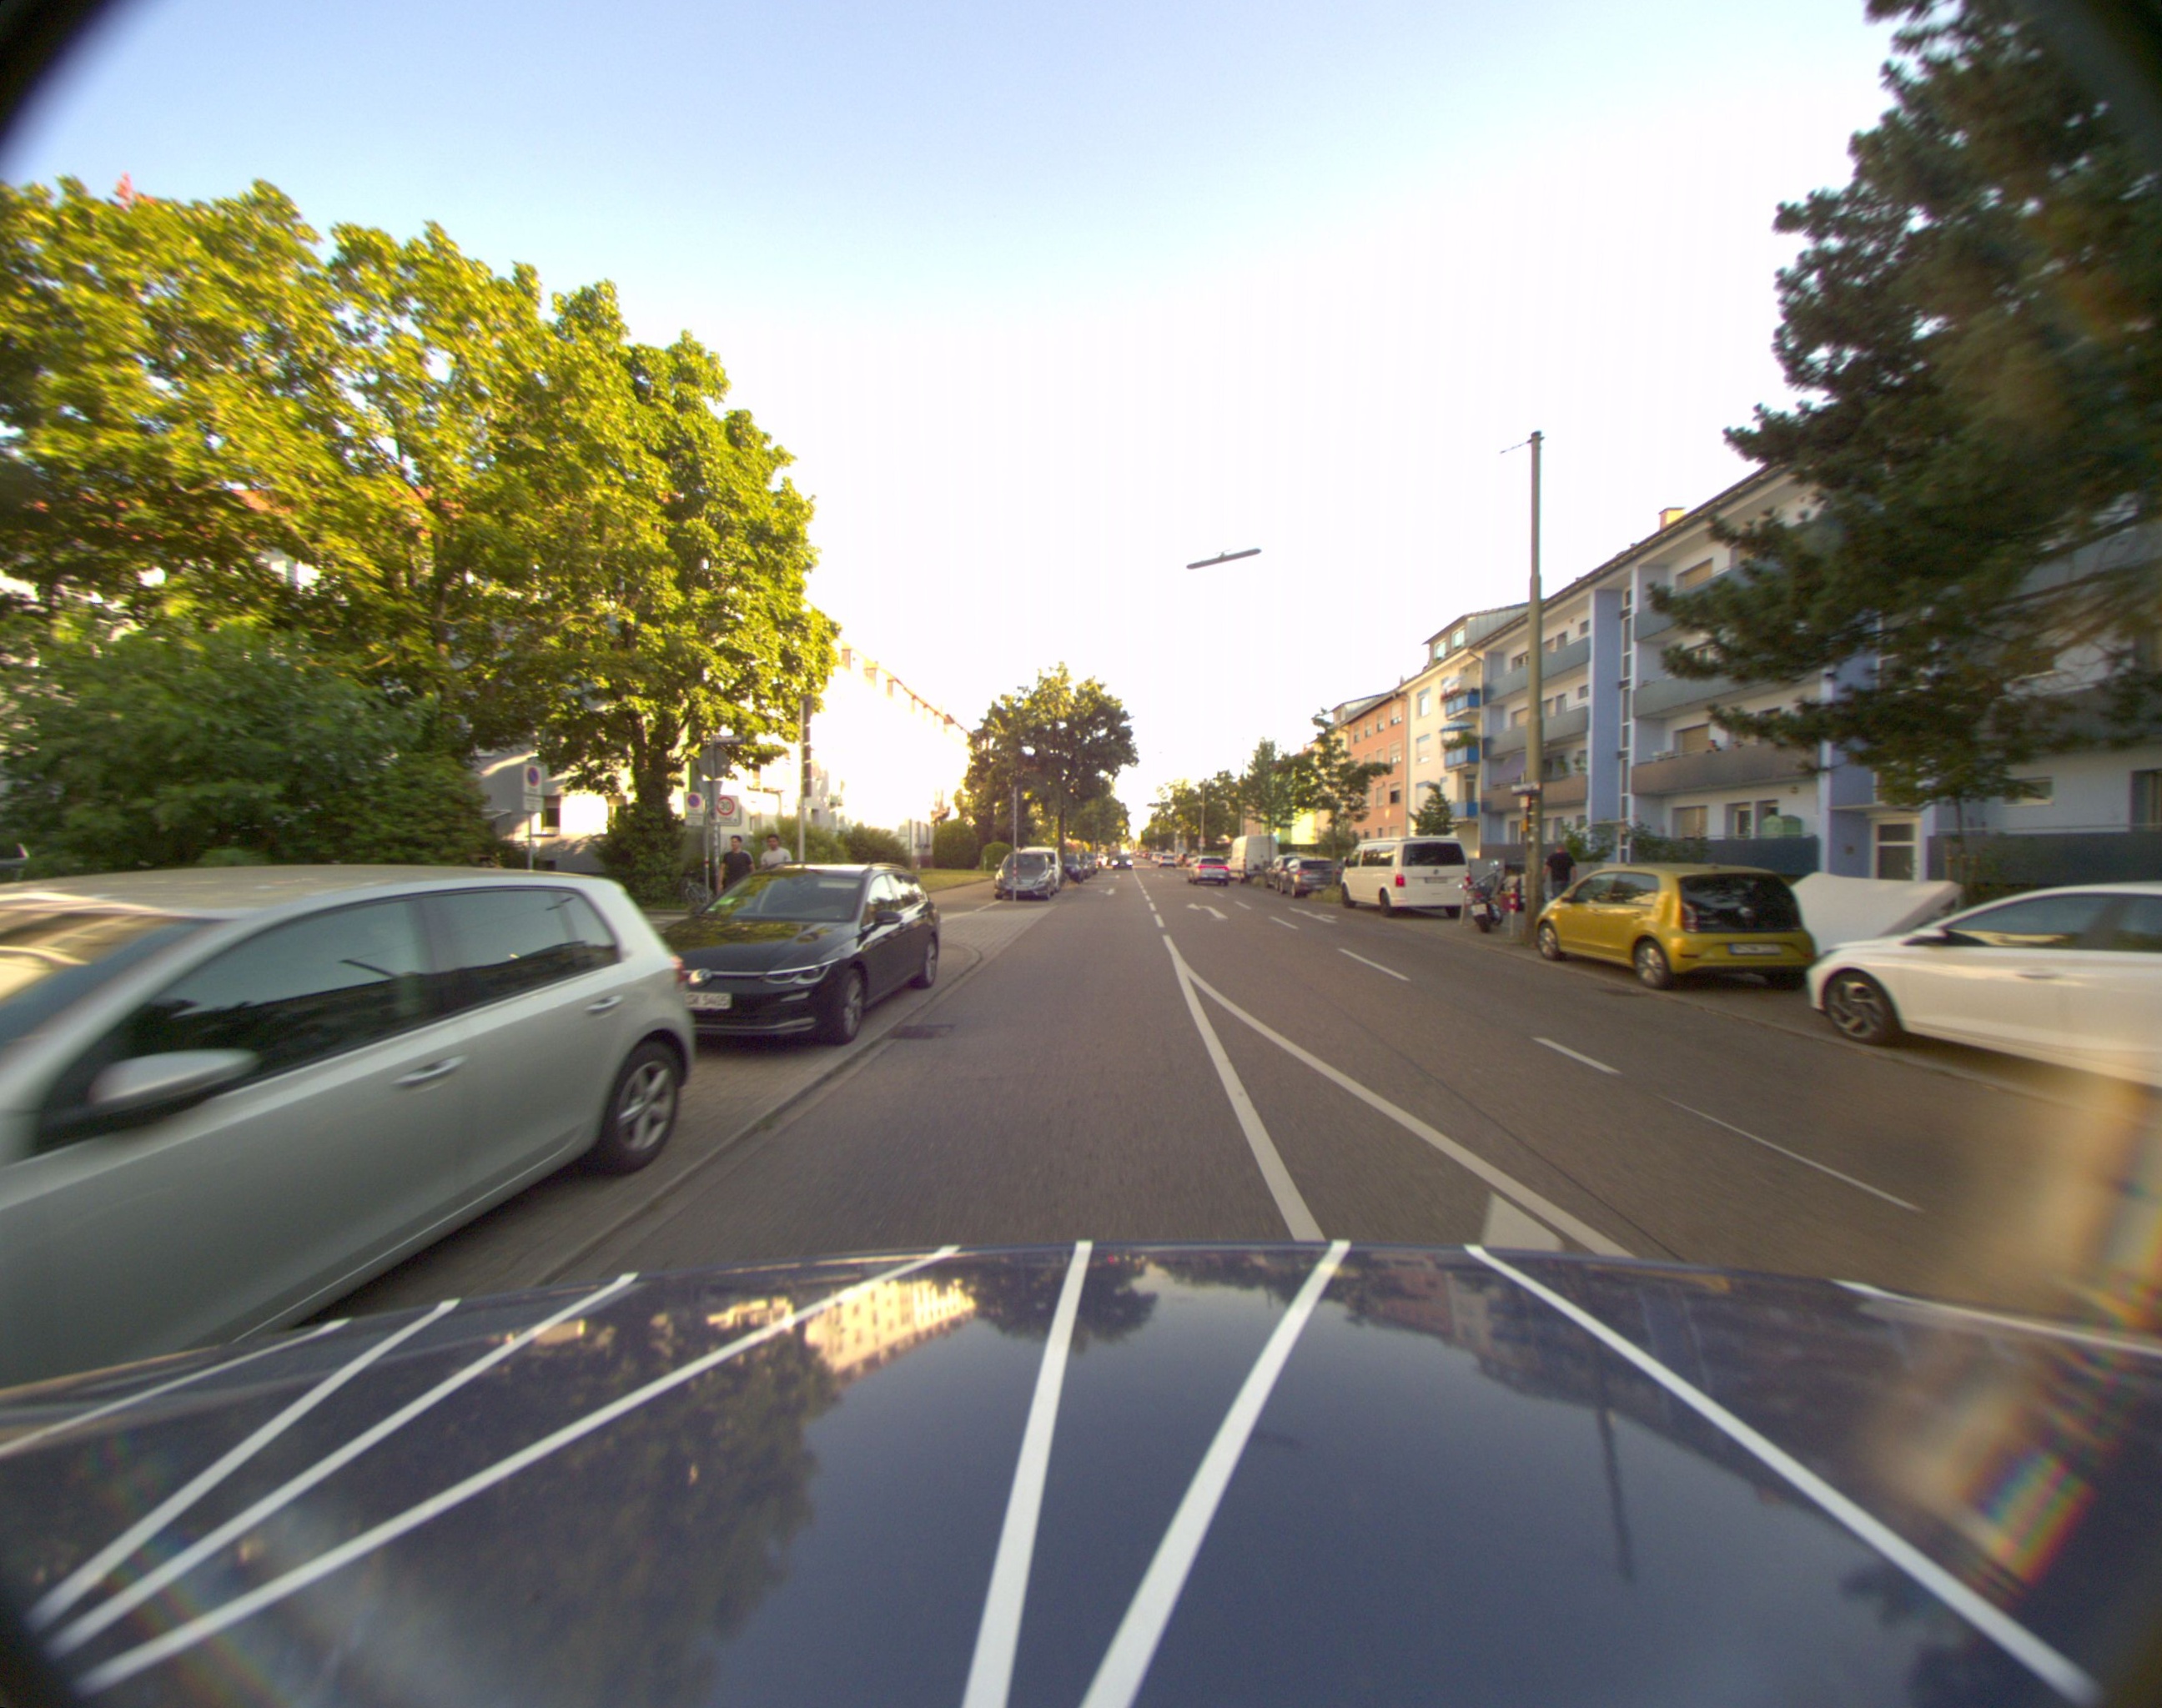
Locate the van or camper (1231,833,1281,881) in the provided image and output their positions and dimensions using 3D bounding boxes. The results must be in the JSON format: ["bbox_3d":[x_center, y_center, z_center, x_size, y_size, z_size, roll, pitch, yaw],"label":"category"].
[{"bbox_3d":[9.786,0.152,42.885,1.917,2.528,5.335,0,1,4],"label":"van or camper"}]

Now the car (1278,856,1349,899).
[{"bbox_3d":[8.771,0.827,29.025,1.808,1.489,3.958,0,1,5],"label":"car"}]

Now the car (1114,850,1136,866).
[{"bbox_3d":[4.188,0.362,73.236,1.998,1.525,4.000,0,1,2],"label":"car"}]

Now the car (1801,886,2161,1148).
[{"bbox_3d":[7.348,1.024,5.046,1.683,1.434,3.882,-1,0,5],"label":"car"}]

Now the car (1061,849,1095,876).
[{"bbox_3d":[-0.161,0.520,47.269,1.797,1.558,3.673,2,1,4],"label":"car"}]

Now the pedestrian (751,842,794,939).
[{"bbox_3d":[-5.546,0.653,13.662,0.593,1.718,0.405,0,1,3],"label":"pedestrian"}]

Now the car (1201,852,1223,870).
[{"bbox_3d":[11.220,0.559,65.064,1.762,1.439,3.592,0,1,8],"label":"car"}]

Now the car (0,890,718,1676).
[{"bbox_3d":[-3.024,0.937,2.196,1.738,1.435,4.305,1,0,2],"label":"car"}]

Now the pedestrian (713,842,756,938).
[{"bbox_3d":[-6.334,0.647,13.897,0.593,1.718,0.405,0,1,3],"label":"pedestrian"}]

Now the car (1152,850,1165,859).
[{"bbox_3d":[11.870,0.108,116.307,1.808,1.390,3.957,0,1,4],"label":"car"}]

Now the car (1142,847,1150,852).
[{"bbox_3d":[15.821,-1.092,186.111,1.808,1.390,3.957,0,1,3],"label":"car"}]

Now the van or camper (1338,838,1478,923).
[{"bbox_3d":[8.511,0.606,20.312,1.808,2.002,4.865,0,1,2],"label":"van or camper"}]

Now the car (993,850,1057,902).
[{"bbox_3d":[-1.813,0.674,25.841,1.798,1.577,4.000,2,1,1],"label":"car"}]

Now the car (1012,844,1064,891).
[{"bbox_3d":[-1.685,0.504,31.231,1.798,1.761,4.000,2,1,1],"label":"car"}]

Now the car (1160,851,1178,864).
[{"bbox_3d":[9.573,0.374,82.901,1.808,1.390,3.958,0,1,5],"label":"car"}]

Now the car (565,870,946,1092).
[{"bbox_3d":[-2.672,0.931,7.486,1.738,1.435,4.340,1,0,2],"label":"car"}]

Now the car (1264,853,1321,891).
[{"bbox_3d":[9.416,0.748,34.102,1.808,1.582,3.958,0,1,5],"label":"car"}]

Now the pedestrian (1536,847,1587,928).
[{"bbox_3d":[10.486,0.723,16.596,0.697,1.727,0.647,0,1,3],"label":"pedestrian"}]

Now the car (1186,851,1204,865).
[{"bbox_3d":[12.992,0.408,86.944,1.808,1.588,3.958,0,1,5],"label":"car"}]

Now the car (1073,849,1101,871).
[{"bbox_3d":[0.475,0.409,56.576,1.797,1.558,3.673,2,1,4],"label":"car"}]

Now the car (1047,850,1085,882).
[{"bbox_3d":[-0.742,0.599,39.823,1.798,1.558,3.672,2,1,1],"label":"car"}]

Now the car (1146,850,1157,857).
[{"bbox_3d":[13.576,-0.131,146.499,1.808,1.390,3.957,1,1,4],"label":"car"}]

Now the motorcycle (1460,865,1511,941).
[{"bbox_3d":[8.211,0.943,15.486,0.792,1.393,2.021,1,1,25],"label":"motorcycle"}]

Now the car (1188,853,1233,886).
[{"bbox_3d":[6.434,0.735,38.129,1.726,1.473,3.957,1,1,3],"label":"car"}]

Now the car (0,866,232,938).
[{"bbox_3d":[-18.530,0.874,14.557,2.951,1.243,1.477,1,1,3],"label":"car"}]

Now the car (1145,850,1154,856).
[{"bbox_3d":[14.577,-0.251,162.367,1.808,1.390,3.957,1,1,4],"label":"car"}]

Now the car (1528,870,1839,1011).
[{"bbox_3d":[7.637,0.992,10.093,1.577,1.460,3.491,-1,0,5],"label":"car"}]

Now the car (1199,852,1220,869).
[{"bbox_3d":[11.650,0.556,69.002,1.762,1.439,3.787,0,1,8],"label":"car"}]
